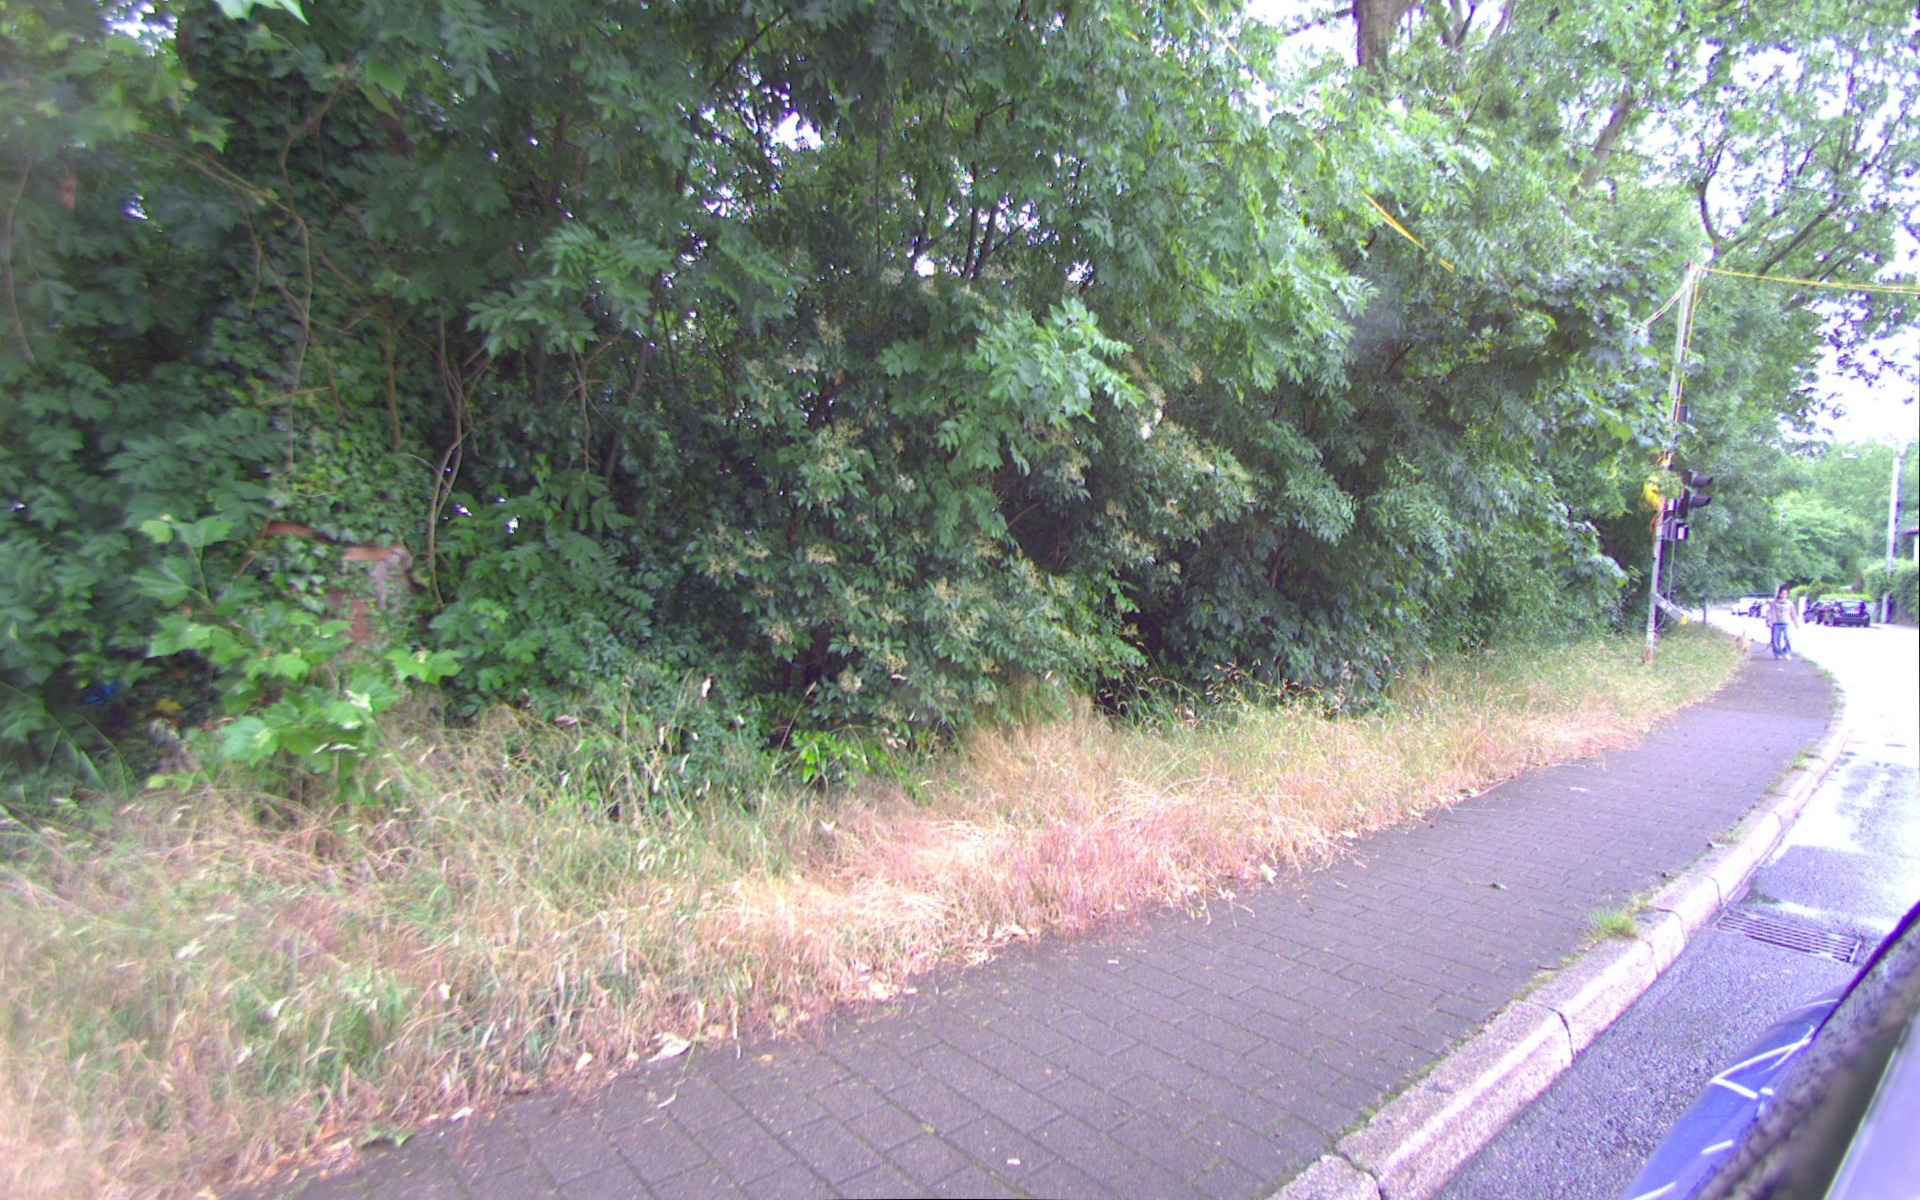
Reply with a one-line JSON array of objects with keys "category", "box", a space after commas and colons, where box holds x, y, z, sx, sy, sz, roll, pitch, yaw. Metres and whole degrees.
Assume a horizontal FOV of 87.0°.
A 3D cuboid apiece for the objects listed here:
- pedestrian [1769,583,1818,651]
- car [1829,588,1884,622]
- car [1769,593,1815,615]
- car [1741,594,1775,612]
[{"category": "pedestrian", "box": [19.132, 0.384, 23.232, 0.771, 1.518, 0.734, 0, -1, -42]}, {"category": "car", "box": [51.051, 0.274, 57.702, 1.869, 1.848, 4.075, 1, 1, 35]}, {"category": "car", "box": [60.738, 0.287, 73.914, 2.055, 1.504, 4.509, 1, 1, 33]}, {"category": "car", "box": [64.932, 0.208, 82.367, 1.676, 1.445, 3.734, 1, 1, 31]}]
